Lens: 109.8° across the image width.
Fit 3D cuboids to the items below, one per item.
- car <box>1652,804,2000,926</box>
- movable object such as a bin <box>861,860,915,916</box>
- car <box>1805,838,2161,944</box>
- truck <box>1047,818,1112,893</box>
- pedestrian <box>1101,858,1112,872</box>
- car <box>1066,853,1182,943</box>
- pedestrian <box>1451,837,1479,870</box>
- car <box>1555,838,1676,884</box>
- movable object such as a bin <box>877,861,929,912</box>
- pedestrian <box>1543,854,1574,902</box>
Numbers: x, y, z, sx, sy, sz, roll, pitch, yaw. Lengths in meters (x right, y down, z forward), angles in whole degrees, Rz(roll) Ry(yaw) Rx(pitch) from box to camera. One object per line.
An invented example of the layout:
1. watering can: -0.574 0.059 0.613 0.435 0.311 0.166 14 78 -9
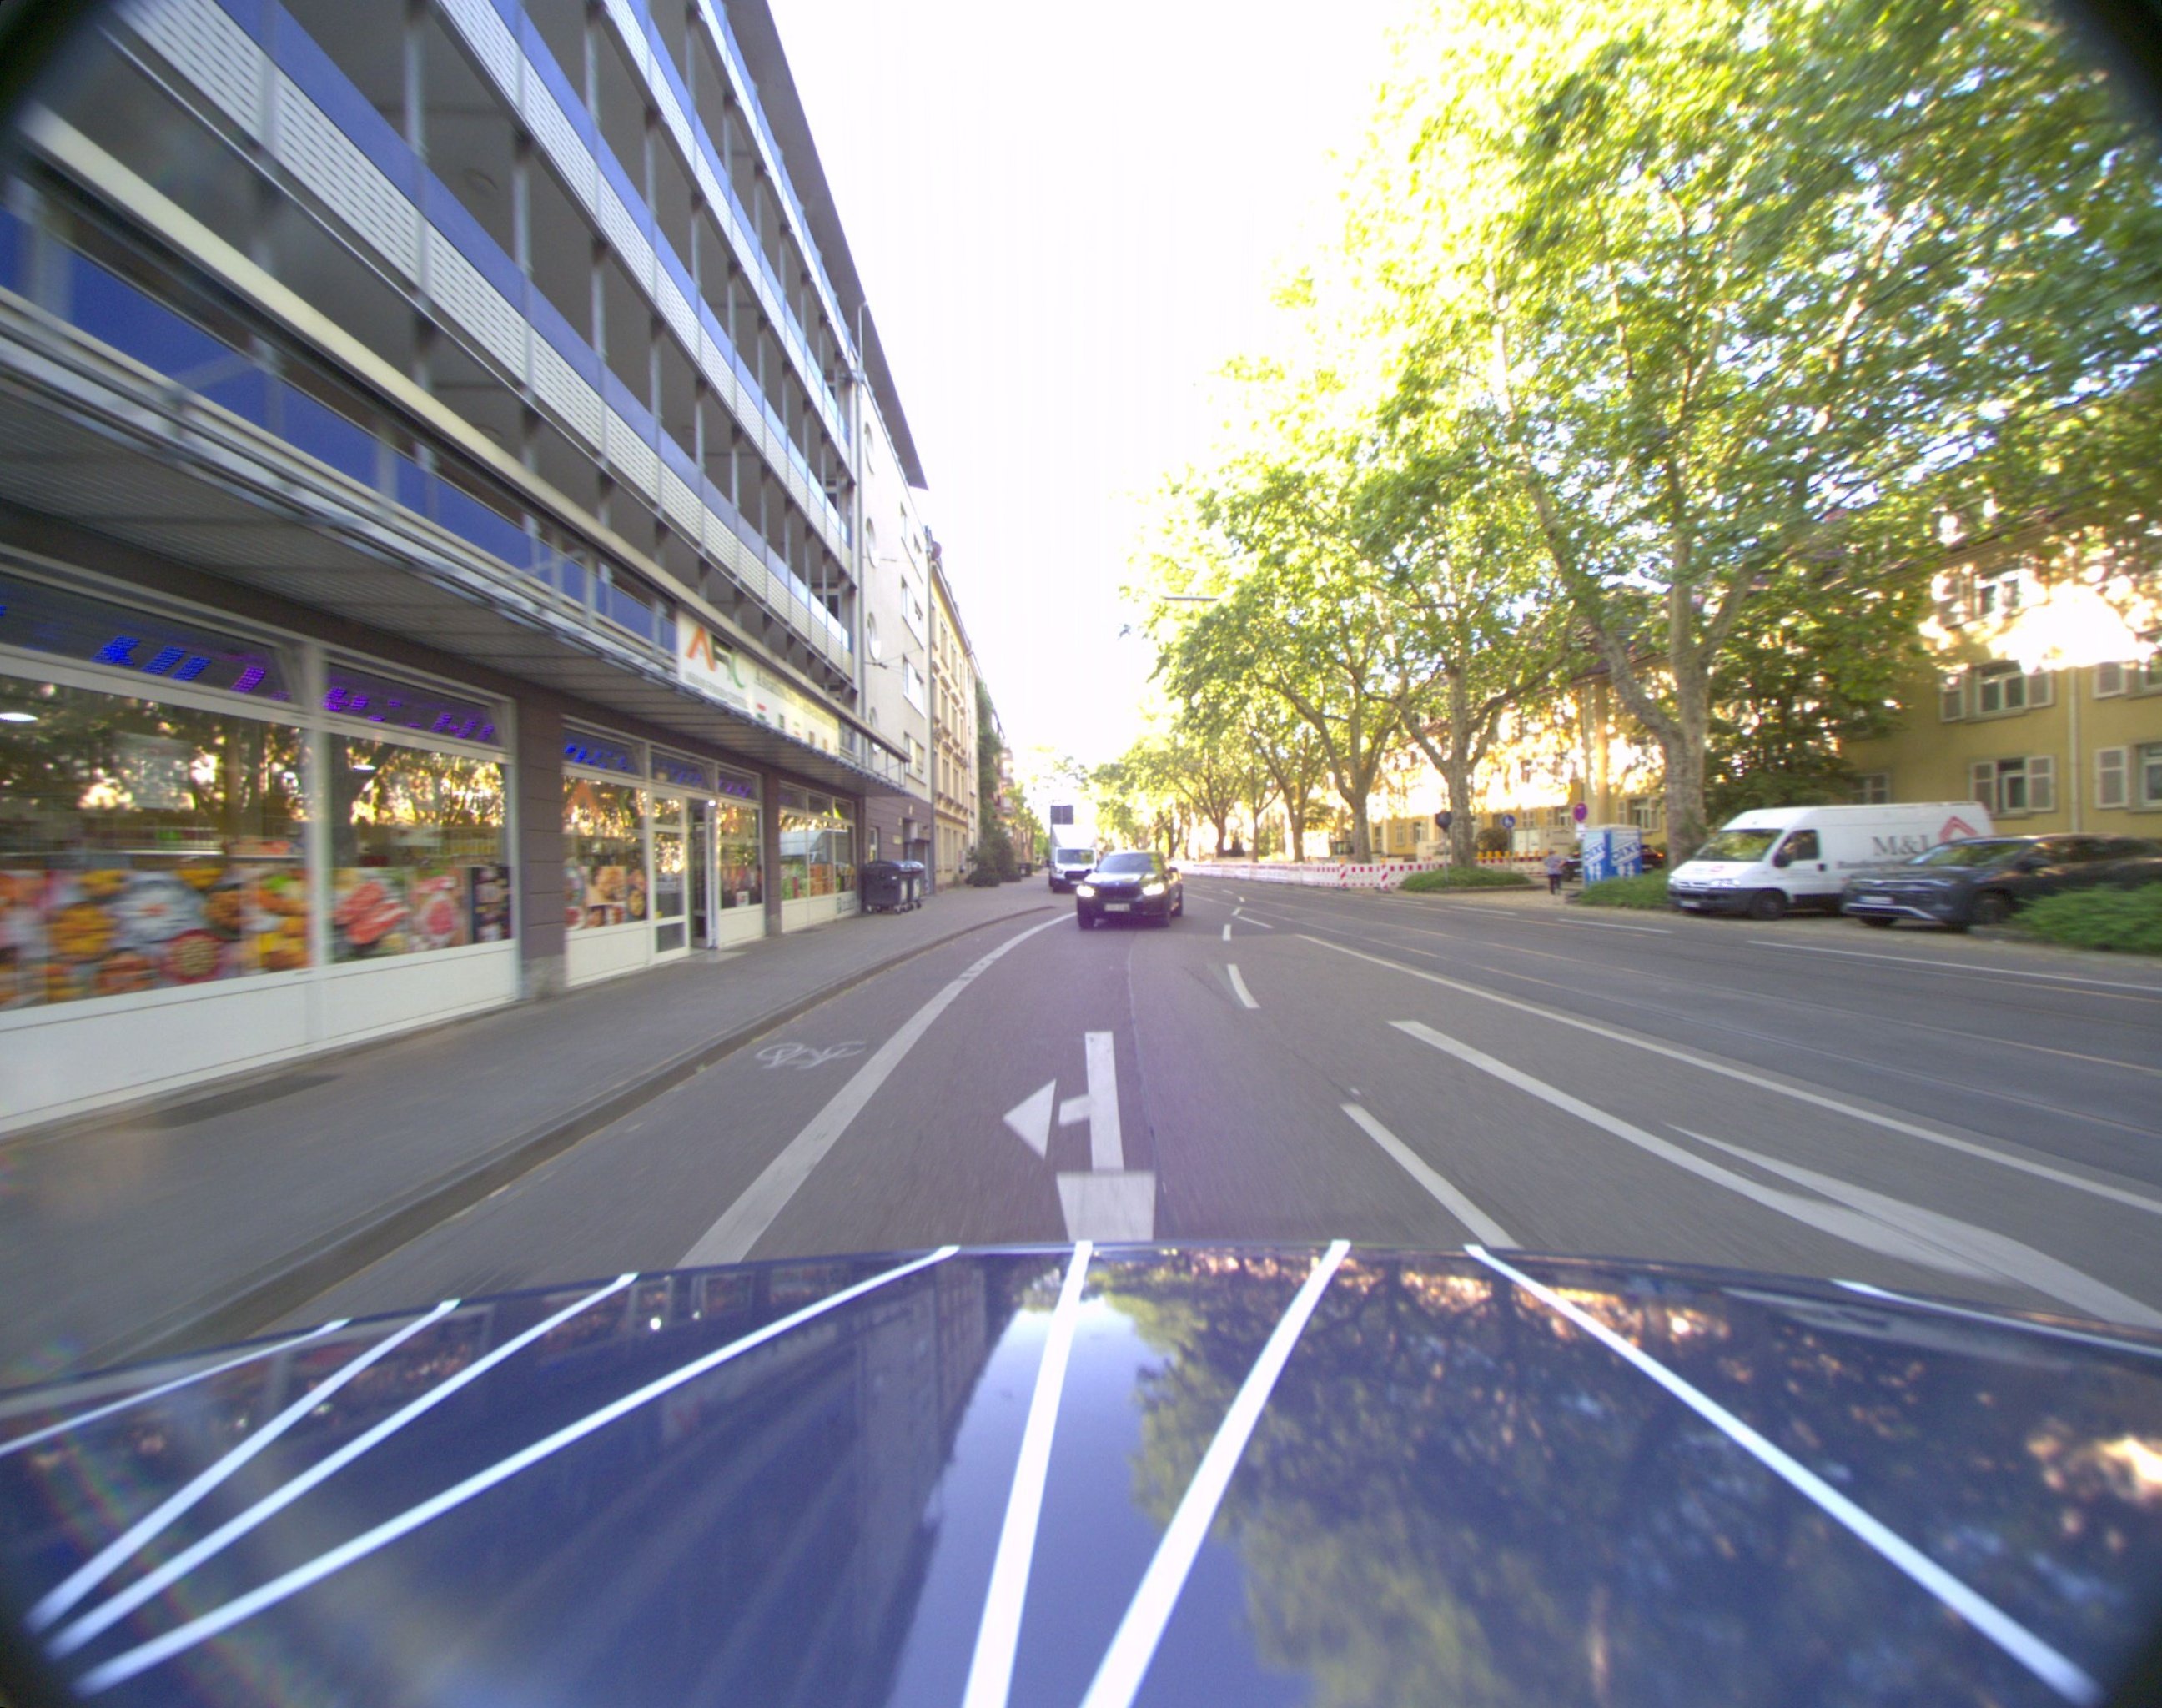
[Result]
1. car: 15.903 0.222 16.433 5.612 2.361 2.025 -1 0 -1
2. movable object such as a bin: -5.151 0.896 20.371 1.069 1.438 1.297 -1 0 0
3. car: 15.975 0.603 13.406 4.575 1.621 1.969 -2 0 -2
4. truck: -0.246 0.081 37.002 2.385 3.165 8.525 2 0 -5
5. pedestrian: 2.979 1.261 88.601 0.889 1.533 0.946 -1 0 -21
6. car: 1.137 0.884 17.377 1.941 1.733 4.479 -2 0 12
7. pedestrian: 24.092 -0.041 47.681 1.098 2.002 1.235 -1 0 -4
8. car: 21.070 0.275 30.212 1.829 1.592 4.221 -3 0 1
9. movable object such as a bin: -5.199 0.929 22.267 1.122 1.437 1.306 -1 0 4
10. pedestrian: 15.841 0.788 25.222 0.596 1.563 0.718 -1 0 9
